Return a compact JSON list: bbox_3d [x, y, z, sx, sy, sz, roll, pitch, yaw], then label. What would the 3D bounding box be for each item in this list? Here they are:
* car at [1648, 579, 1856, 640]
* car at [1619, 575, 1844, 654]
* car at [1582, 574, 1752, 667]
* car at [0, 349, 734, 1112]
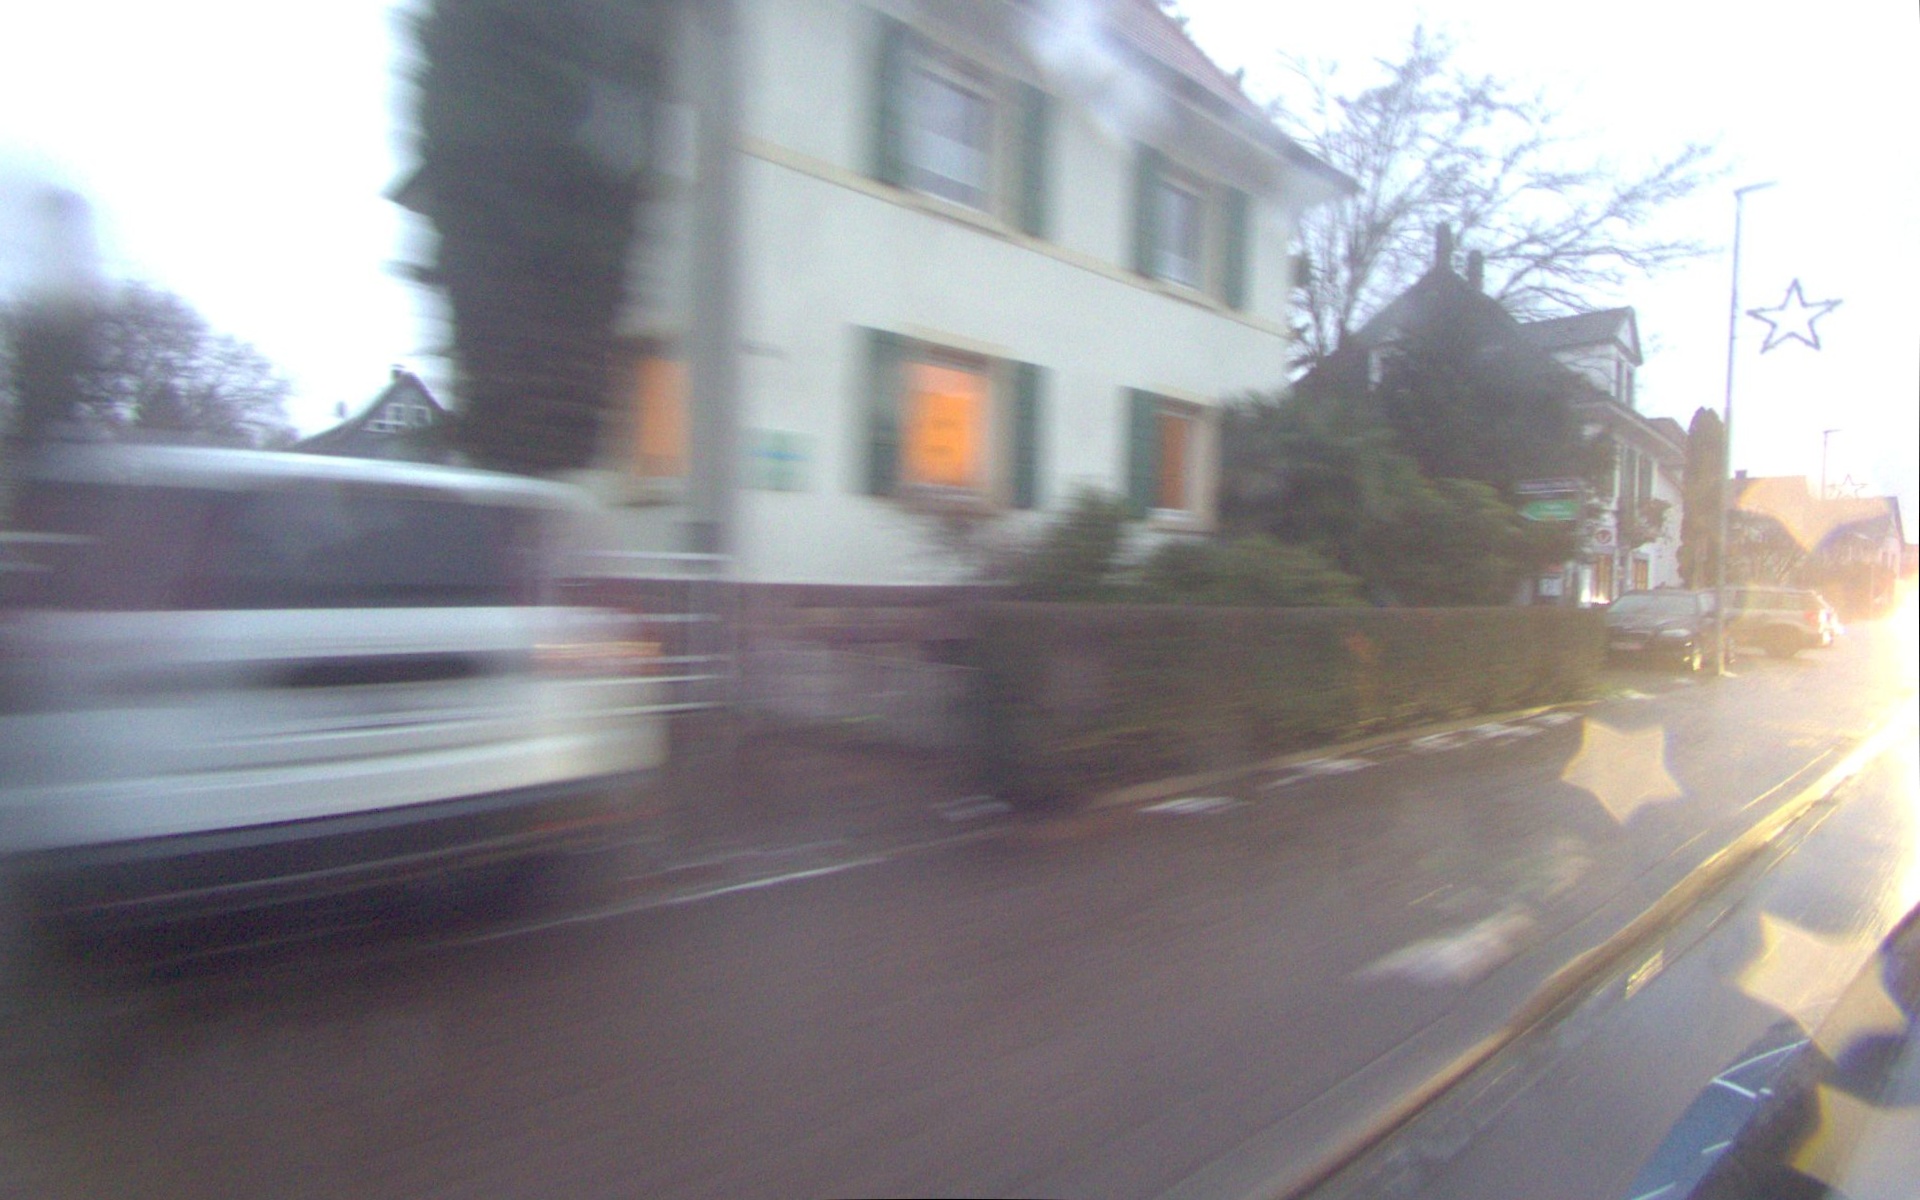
[{"bbox_3d":[24.144,0.213,31.002,1.874,1.649,4.741,-1,2,-42],"label":"car"},{"bbox_3d":[18.493,0.273,24.370,4.103,1.727,1.968,1,2,45],"label":"car"},{"bbox_3d":[13.820,0.319,19.663,4.678,1.574,1.894,0,1,-45],"label":"car"},{"bbox_3d":[-3.029,0.159,4.516,1.967,1.753,4.328,0,4,-44],"label":"car"}]
